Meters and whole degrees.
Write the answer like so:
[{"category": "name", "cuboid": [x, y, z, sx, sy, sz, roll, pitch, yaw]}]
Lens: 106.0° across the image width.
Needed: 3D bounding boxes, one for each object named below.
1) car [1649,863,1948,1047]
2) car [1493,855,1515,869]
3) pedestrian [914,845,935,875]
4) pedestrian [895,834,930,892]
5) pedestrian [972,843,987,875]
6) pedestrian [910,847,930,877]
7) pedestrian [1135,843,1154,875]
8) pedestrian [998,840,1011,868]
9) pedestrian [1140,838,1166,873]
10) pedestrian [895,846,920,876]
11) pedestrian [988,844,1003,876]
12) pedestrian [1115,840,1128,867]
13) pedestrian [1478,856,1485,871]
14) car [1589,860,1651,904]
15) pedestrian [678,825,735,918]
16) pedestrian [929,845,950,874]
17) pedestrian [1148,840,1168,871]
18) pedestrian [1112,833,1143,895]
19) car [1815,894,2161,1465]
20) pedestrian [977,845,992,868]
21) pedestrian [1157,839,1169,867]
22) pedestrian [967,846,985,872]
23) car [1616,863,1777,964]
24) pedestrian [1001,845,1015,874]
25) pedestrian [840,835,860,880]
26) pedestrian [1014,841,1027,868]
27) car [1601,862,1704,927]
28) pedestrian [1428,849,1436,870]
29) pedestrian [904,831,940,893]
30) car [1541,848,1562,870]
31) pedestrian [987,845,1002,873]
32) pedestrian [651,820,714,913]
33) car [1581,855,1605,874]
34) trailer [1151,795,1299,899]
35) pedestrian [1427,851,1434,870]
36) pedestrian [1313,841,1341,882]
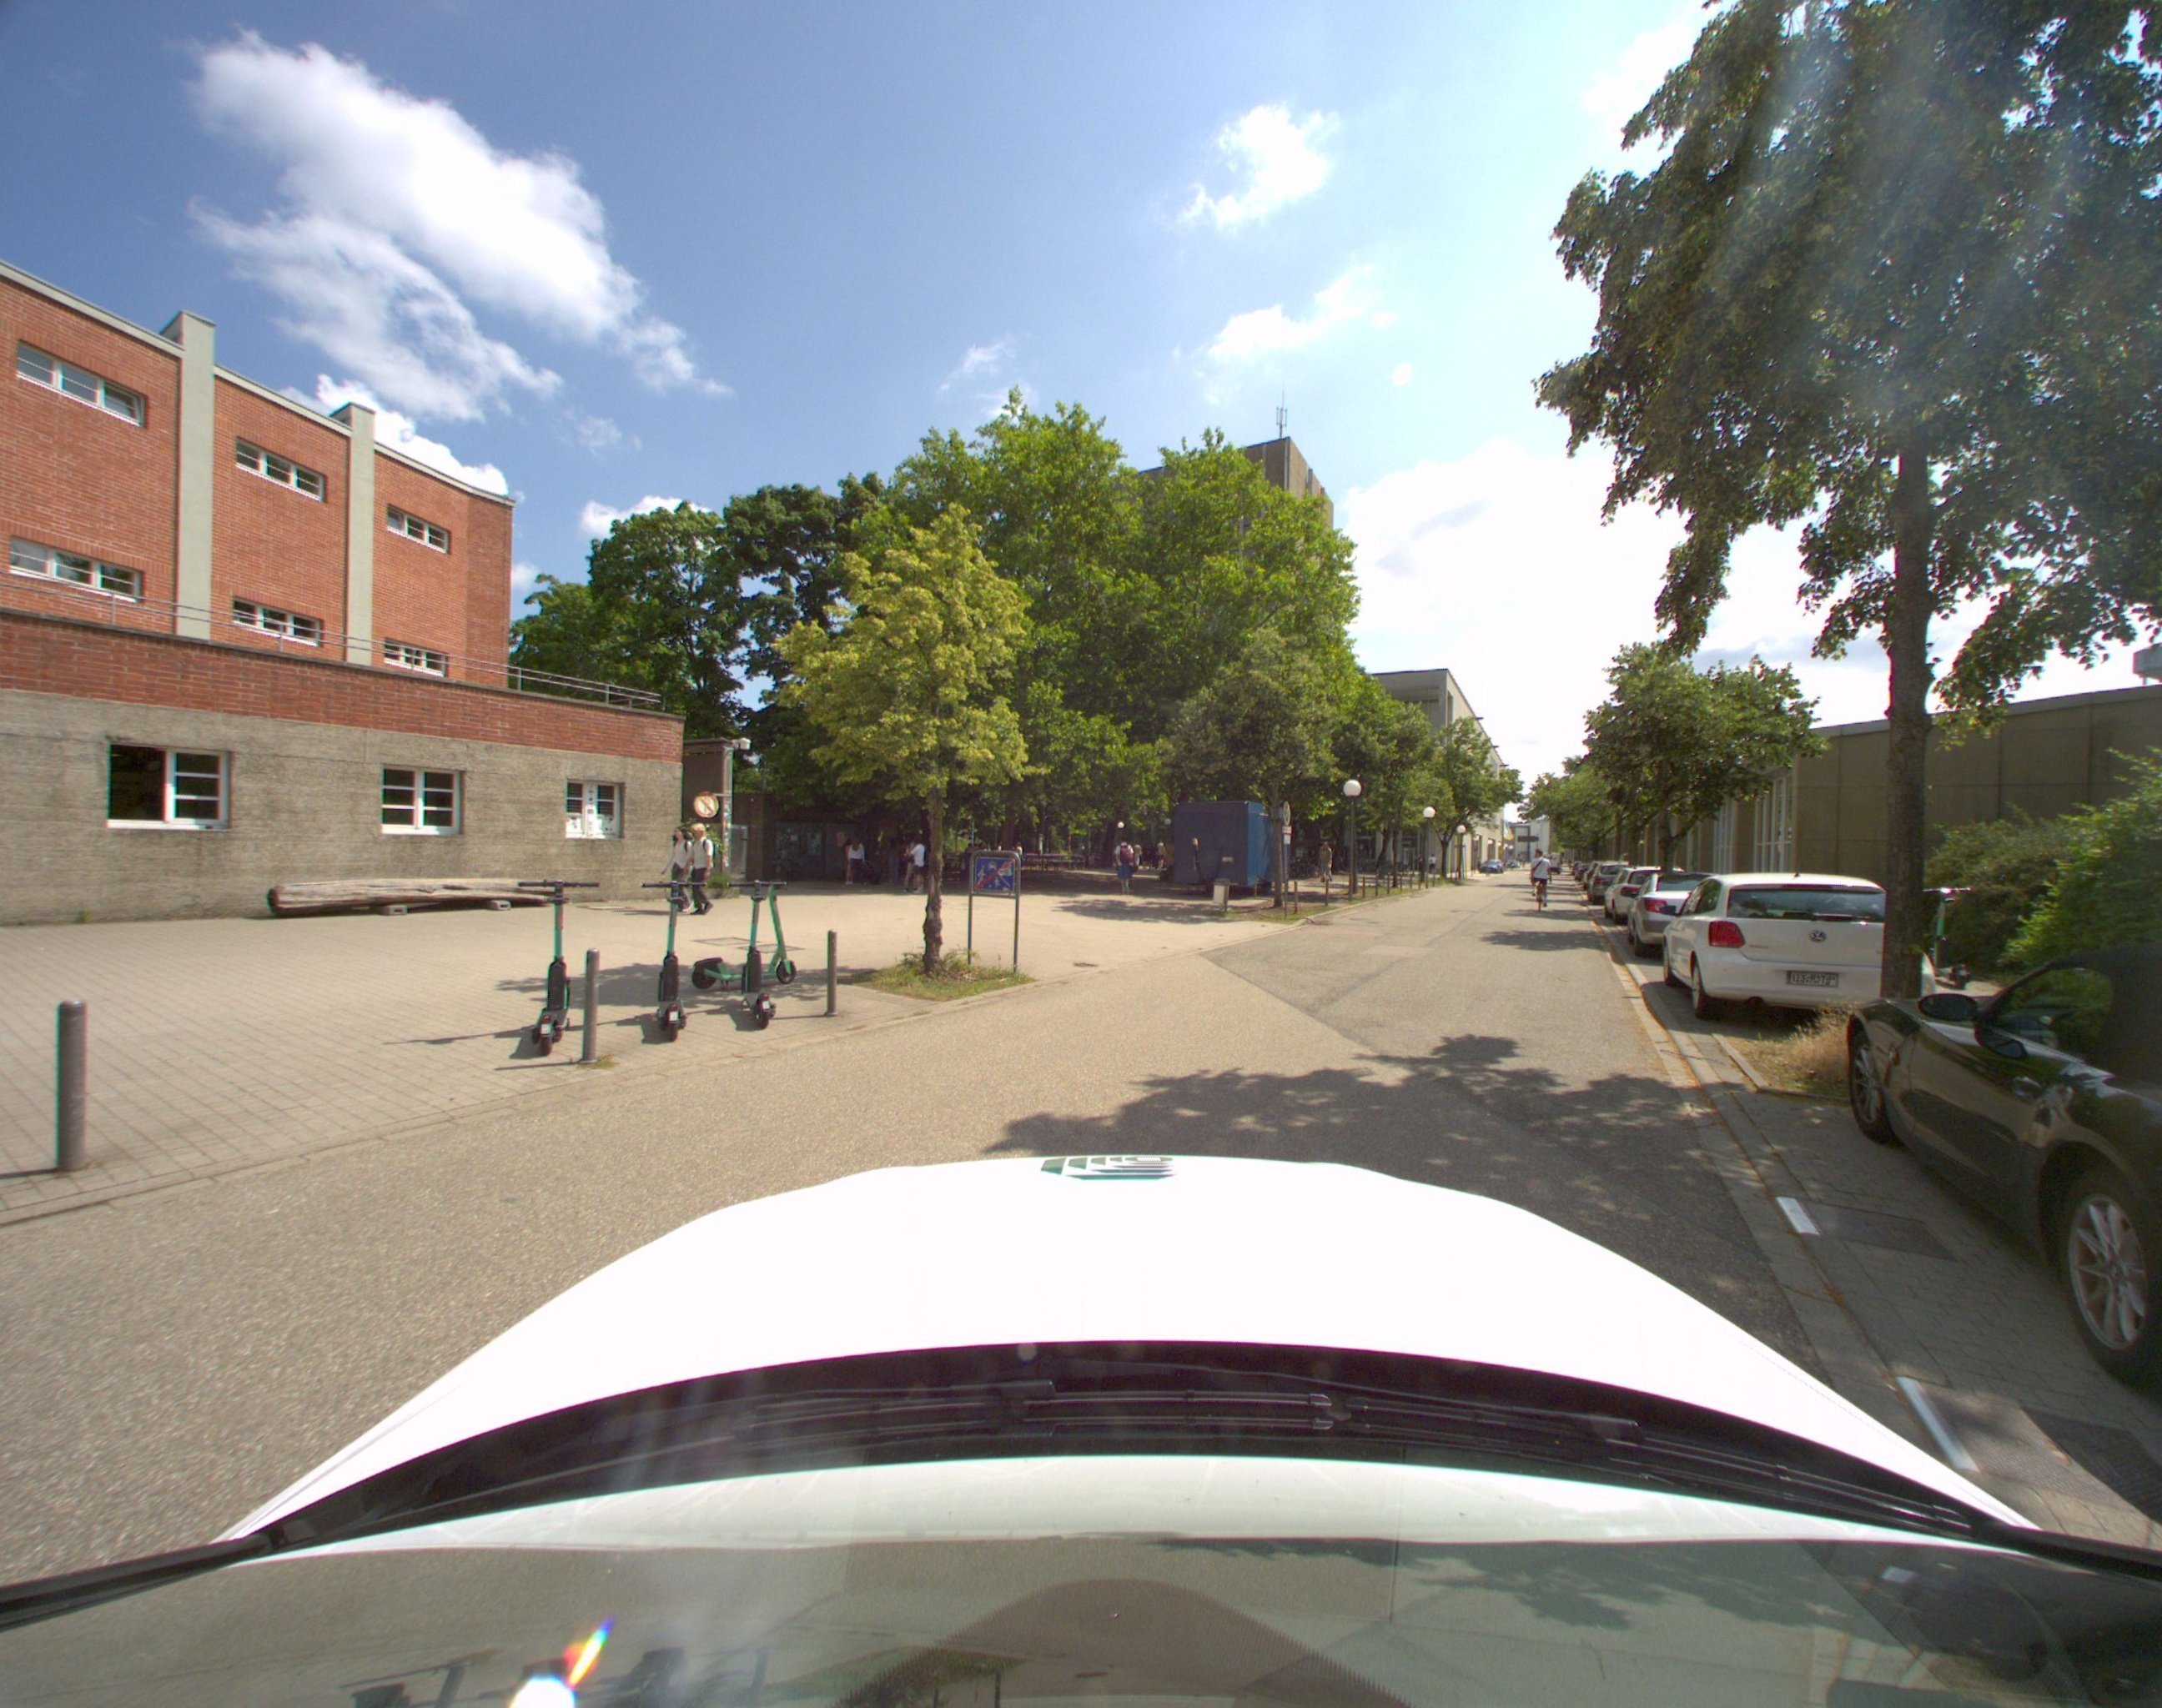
[{"category": "car", "cuboid": [7.418, 0.857, 8.859, 1.572, 1.466, 4.013, 1, 0, 29]}, {"category": "car", "cuboid": [46.317, 0.881, 89.128, 1.749, 1.427, 4.261, 2, 0, 32]}, {"category": "pedestrian", "cuboid": [-6.820, 0.270, 35.545, 0.555, 1.271, 0.697, 2, 1, 31]}, {"category": "pedestrian", "cuboid": [-5.190, 0.287, 25.098, 0.883, 1.720, 0.484, 3, -2, -31]}, {"category": "pedestrian", "cuboid": [-4.544, 0.229, 36.429, 0.592, 1.369, 0.703, 2, 2, -3]}, {"category": "pedestrian", "cuboid": [-7.301, 0.351, 37.000, 0.638, 1.323, 0.562, 1, 0, 32]}, {"category": "pedestrian", "cuboid": [4.068, 0.326, 52.244, 0.823, 1.948, 0.846, 3, 1, -22]}, {"category": "pedestrian", "cuboid": [-4.205, 0.003, 44.790, 0.501, 1.522, 0.476, 2, 1, 20]}, {"category": "pedestrian", "cuboid": [4.266, 0.095, 48.248, 1.125, 1.948, 0.886, 3, 1, -22]}, {"category": "pedestrian", "cuboid": [-7.671, 0.315, 36.048, 0.681, 1.323, 0.783, 1, 0, 32]}, {"category": "pedestrian", "cuboid": [-3.809, 0.255, 36.124, 0.592, 1.369, 0.742, 2, 2, -3]}, {"category": "pedestrian", "cuboid": [2.637, -0.045, 52.742, 0.626, 1.670, 0.733, 2, 1, 13]}, {"category": "pedestrian", "cuboid": [48.051, 1.109, 97.790, 0.644, 1.701, 0.894, 2, 1, 20]}, {"category": "car", "cuboid": [20.632, 1.018, 31.298, 1.688, 1.574, 4.166, 0, 0, 29]}, {"category": "pedestrian", "cuboid": [-7.315, 0.329, 15.926, 0.558, 1.762, 0.810, 1, 0, 30]}, {"category": "pedestrian", "cuboid": [-6.308, 0.238, 36.379, 0.555, 1.271, 0.697, 2, 1, 31]}, {"category": "pedestrian", "cuboid": [4.981, 0.101, 52.642, 0.921, 1.948, 0.886, 3, 1, -22]}, {"category": "pedestrian", "cuboid": [1.432, 0.297, 25.253, 0.848, 1.835, 0.878, 2, 2, 0]}, {"category": "car", "cuboid": [4.271, 0.903, 2.948, 1.691, 1.280, 4.025, 1, 1, 32]}, {"category": "pedestrian", "cuboid": [-4.959, 0.118, 41.861, 0.387, 1.194, 0.734, 2, 1, 22]}, {"category": "pedestrian", "cuboid": [5.501, -0.071, 54.710, 0.589, 1.904, 0.514, 1, 0, -15]}, {"category": "pedestrian", "cuboid": [-5.056, 0.240, 39.282, 0.564, 1.250, 0.771, 2, 1, 19]}, {"category": "car", "cuboid": [10.356, 0.887, 13.982, 1.631, 1.390, 4.013, 0, 1, 29]}, {"category": "pedestrian", "cuboid": [-3.300, 0.249, 36.853, 0.592, 1.233, 0.742, 2, 2, -3]}, {"category": "pedestrian", "cuboid": [-8.354, 0.121, 29.438, 0.604, 1.593, 0.411, 2, 1, -11]}, {"category": "pedestrian", "cuboid": [-3.317, 0.016, 44.442, 0.501, 1.422, 0.463, 2, 1, 21]}, {"category": "car", "cuboid": [14.783, 0.958, 21.286, 1.709, 1.467, 4.700, 0, 0, 29]}, {"category": "pedestrian", "cuboid": [32.347, 0.482, 75.126, 0.411, 1.941, 0.663, 2, 1, 2]}, {"category": "pedestrian", "cuboid": [-4.778, 0.239, 24.445, 0.883, 1.820, 0.445, 3, -2, -32]}, {"category": "car", "cuboid": [56.434, 0.594, 97.607, 2.064, 2.539, 4.342, 3, 1, 30]}, {"category": "pedestrian", "cuboid": [-3.920, 0.228, 36.860, 0.592, 1.233, 0.742, 2, 2, -3]}, {"category": "pedestrian", "cuboid": [-7.896, 0.237, 16.165, 0.570, 1.779, 0.923, 1, 0, 30]}, {"category": "car", "cuboid": [43.887, 0.872, 69.864, 1.601, 1.538, 3.803, 2, 0, 31]}, {"category": "trailer", "cuboid": [4.973, -0.246, 27.101, 2.671, 3.026, 6.305, 3, 1, 31]}, {"category": "pedestrian", "cuboid": [32.793, 0.627, 76.422, 0.439, 1.775, 0.451, 2, 0, 0]}, {"category": "pedestrian", "cuboid": [12.223, 0.371, 40.494, 0.909, 1.954, 0.897, 4, 1, 41]}]
